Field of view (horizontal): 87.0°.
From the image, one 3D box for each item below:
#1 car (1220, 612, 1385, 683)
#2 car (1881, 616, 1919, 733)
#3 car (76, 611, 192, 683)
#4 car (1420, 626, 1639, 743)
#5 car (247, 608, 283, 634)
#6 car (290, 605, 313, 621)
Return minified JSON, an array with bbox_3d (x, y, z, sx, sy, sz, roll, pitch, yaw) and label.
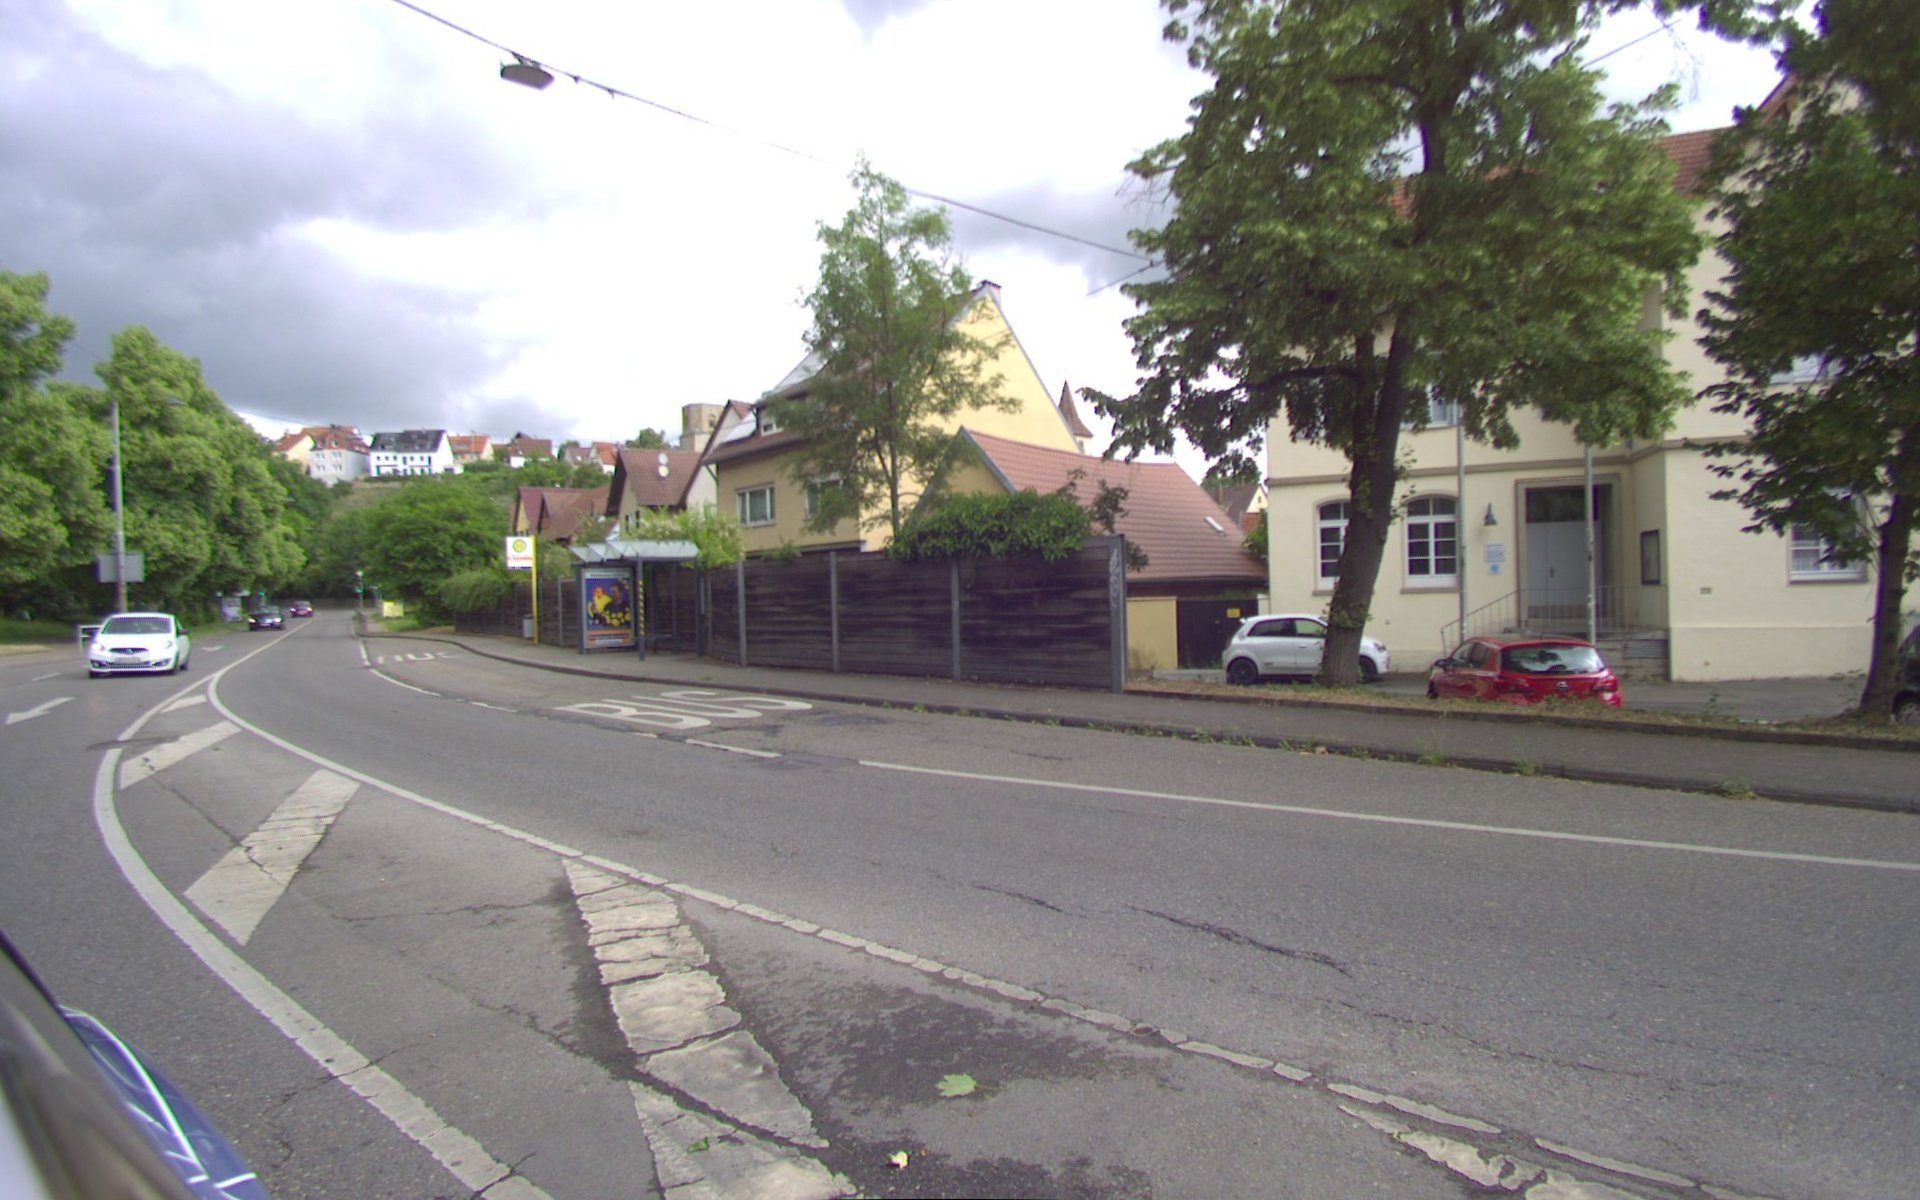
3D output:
[{"bbox_3d":[7.718,1.048,22.898,3.411,1.490,1.600,-1,0,21],"label":"car"},{"bbox_3d":[12.631,0.929,11.316,1.626,1.450,3.567,-1,0,7],"label":"car"},{"bbox_3d":[-19.797,1.063,24.394,1.735,1.536,3.693,-1,0,-33],"label":"car"},{"bbox_3d":[8.192,1.139,14.948,1.644,1.393,3.708,-1,0,10],"label":"car"},{"bbox_3d":[-43.961,1.295,64.022,1.735,1.596,3.693,-1,0,-33],"label":"car"},{"bbox_3d":[-69.806,1.358,107.263,1.734,1.596,3.695,-1,0,-28],"label":"car"}]
